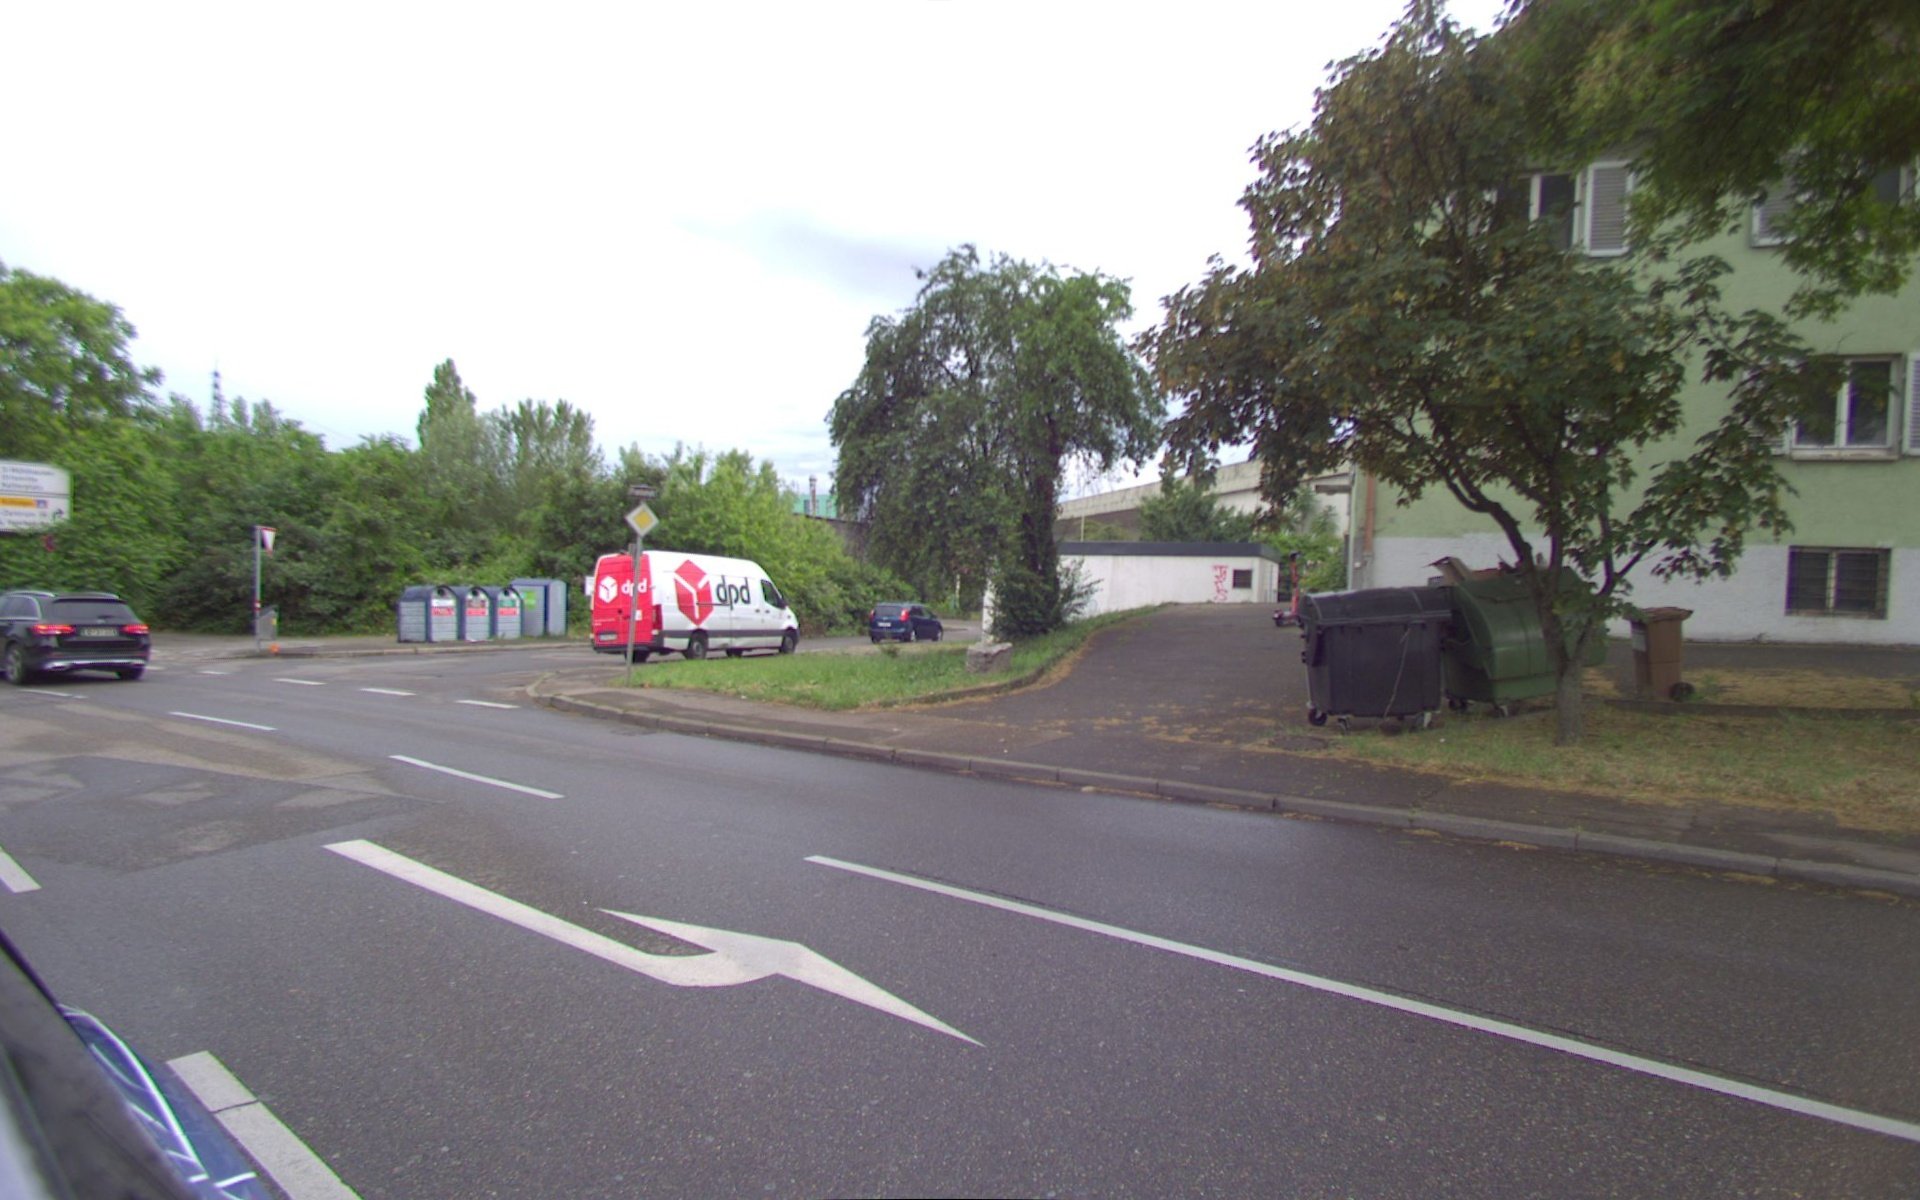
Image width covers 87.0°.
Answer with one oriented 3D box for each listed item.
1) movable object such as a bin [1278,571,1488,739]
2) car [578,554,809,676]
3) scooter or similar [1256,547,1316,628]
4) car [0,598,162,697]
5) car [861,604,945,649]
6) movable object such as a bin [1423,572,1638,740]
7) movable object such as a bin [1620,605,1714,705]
[{"bbox_3d":[4.257,0.506,10.323,1.440,1.448,1.296,-5,3,-6],"label":"movable object such as a bin"},{"bbox_3d":[-6.500,0.303,25.902,2.246,2.675,6.777,1,0,20],"label":"car"},{"bbox_3d":[5.534,-0.236,17.128,0.529,1.283,1.507,1,4,35],"label":"scooter or similar"},{"bbox_3d":[-16.823,0.798,18.574,4.415,1.638,1.902,0,-1,29],"label":"car"},{"bbox_3d":[-2.218,1.000,40.391,1.984,1.642,4.228,1,1,18],"label":"car"},{"bbox_3d":[5.713,0.516,10.214,1.440,1.448,1.102,-5,3,-6],"label":"movable object such as a bin"},{"bbox_3d":[7.214,0.538,10.328,0.723,0.964,0.551,1,0,41],"label":"movable object such as a bin"}]
